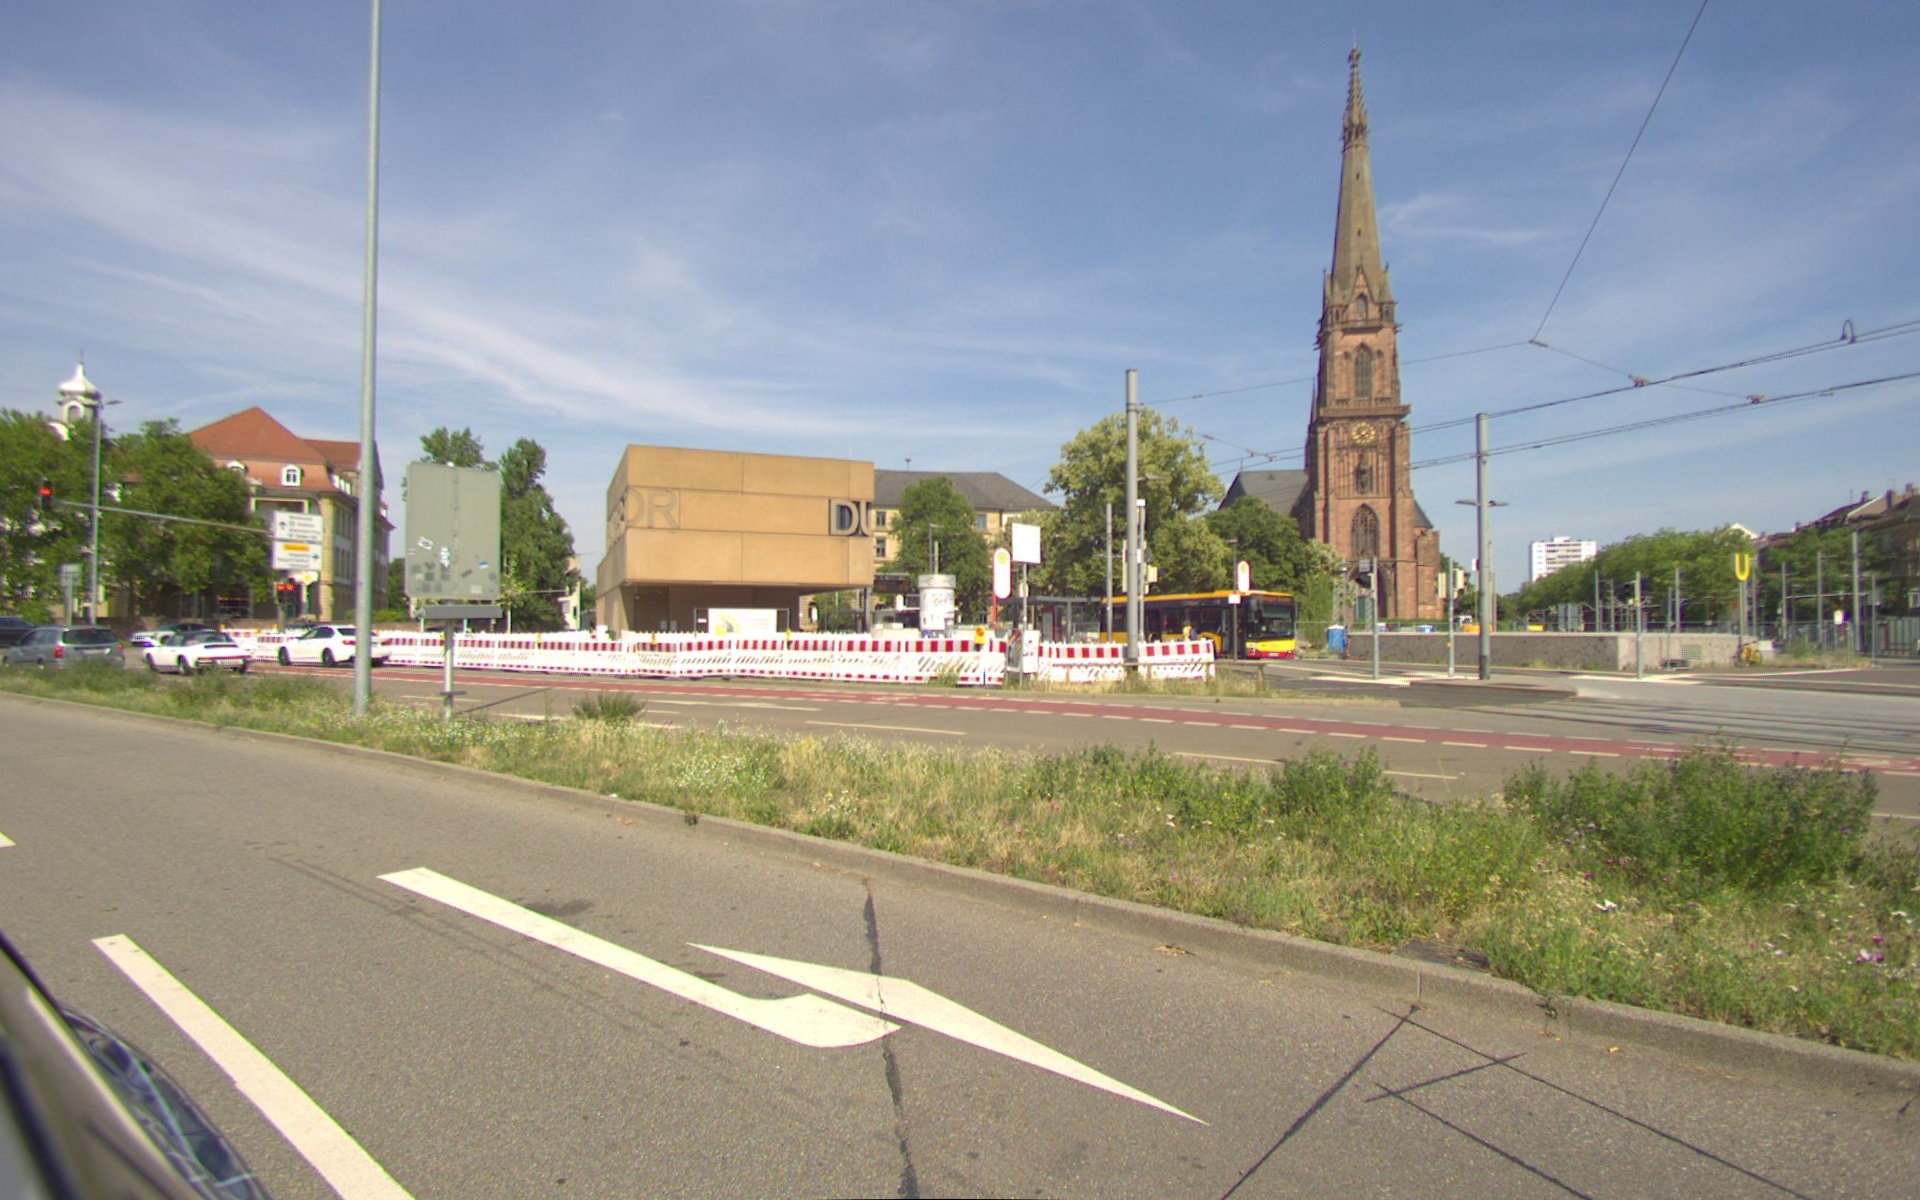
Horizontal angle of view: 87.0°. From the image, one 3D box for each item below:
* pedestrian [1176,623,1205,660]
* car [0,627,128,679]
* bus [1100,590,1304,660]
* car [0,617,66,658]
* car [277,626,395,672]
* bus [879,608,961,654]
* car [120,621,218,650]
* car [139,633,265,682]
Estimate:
[{"bbox_3d":[8.777,1.575,38.506,0.911,1.377,0.532,-1,0,41],"label":"pedestrian"},{"bbox_3d":[-24.702,1.419,27.803,3.984,1.296,1.583,-1,0,30],"label":"car"},{"bbox_3d":[10.489,1.009,45.988,2.711,2.703,11.828,-1,0,-22],"label":"bus"},{"bbox_3d":[-42.882,1.694,45.327,1.758,1.742,4.058,-1,0,40],"label":"car"},{"bbox_3d":[-21.401,1.634,34.667,3.984,1.431,1.785,-1,0,30],"label":"car"},{"bbox_3d":[-3.344,2.433,79.575,2.710,3.348,11.827,1,-2,-22],"label":"bus"},{"bbox_3d":[-44.323,1.952,56.808,1.743,1.454,4.092,-1,0,16],"label":"car"},{"bbox_3d":[-22.432,1.657,29.927,3.984,1.296,1.583,-1,0,30],"label":"car"}]
